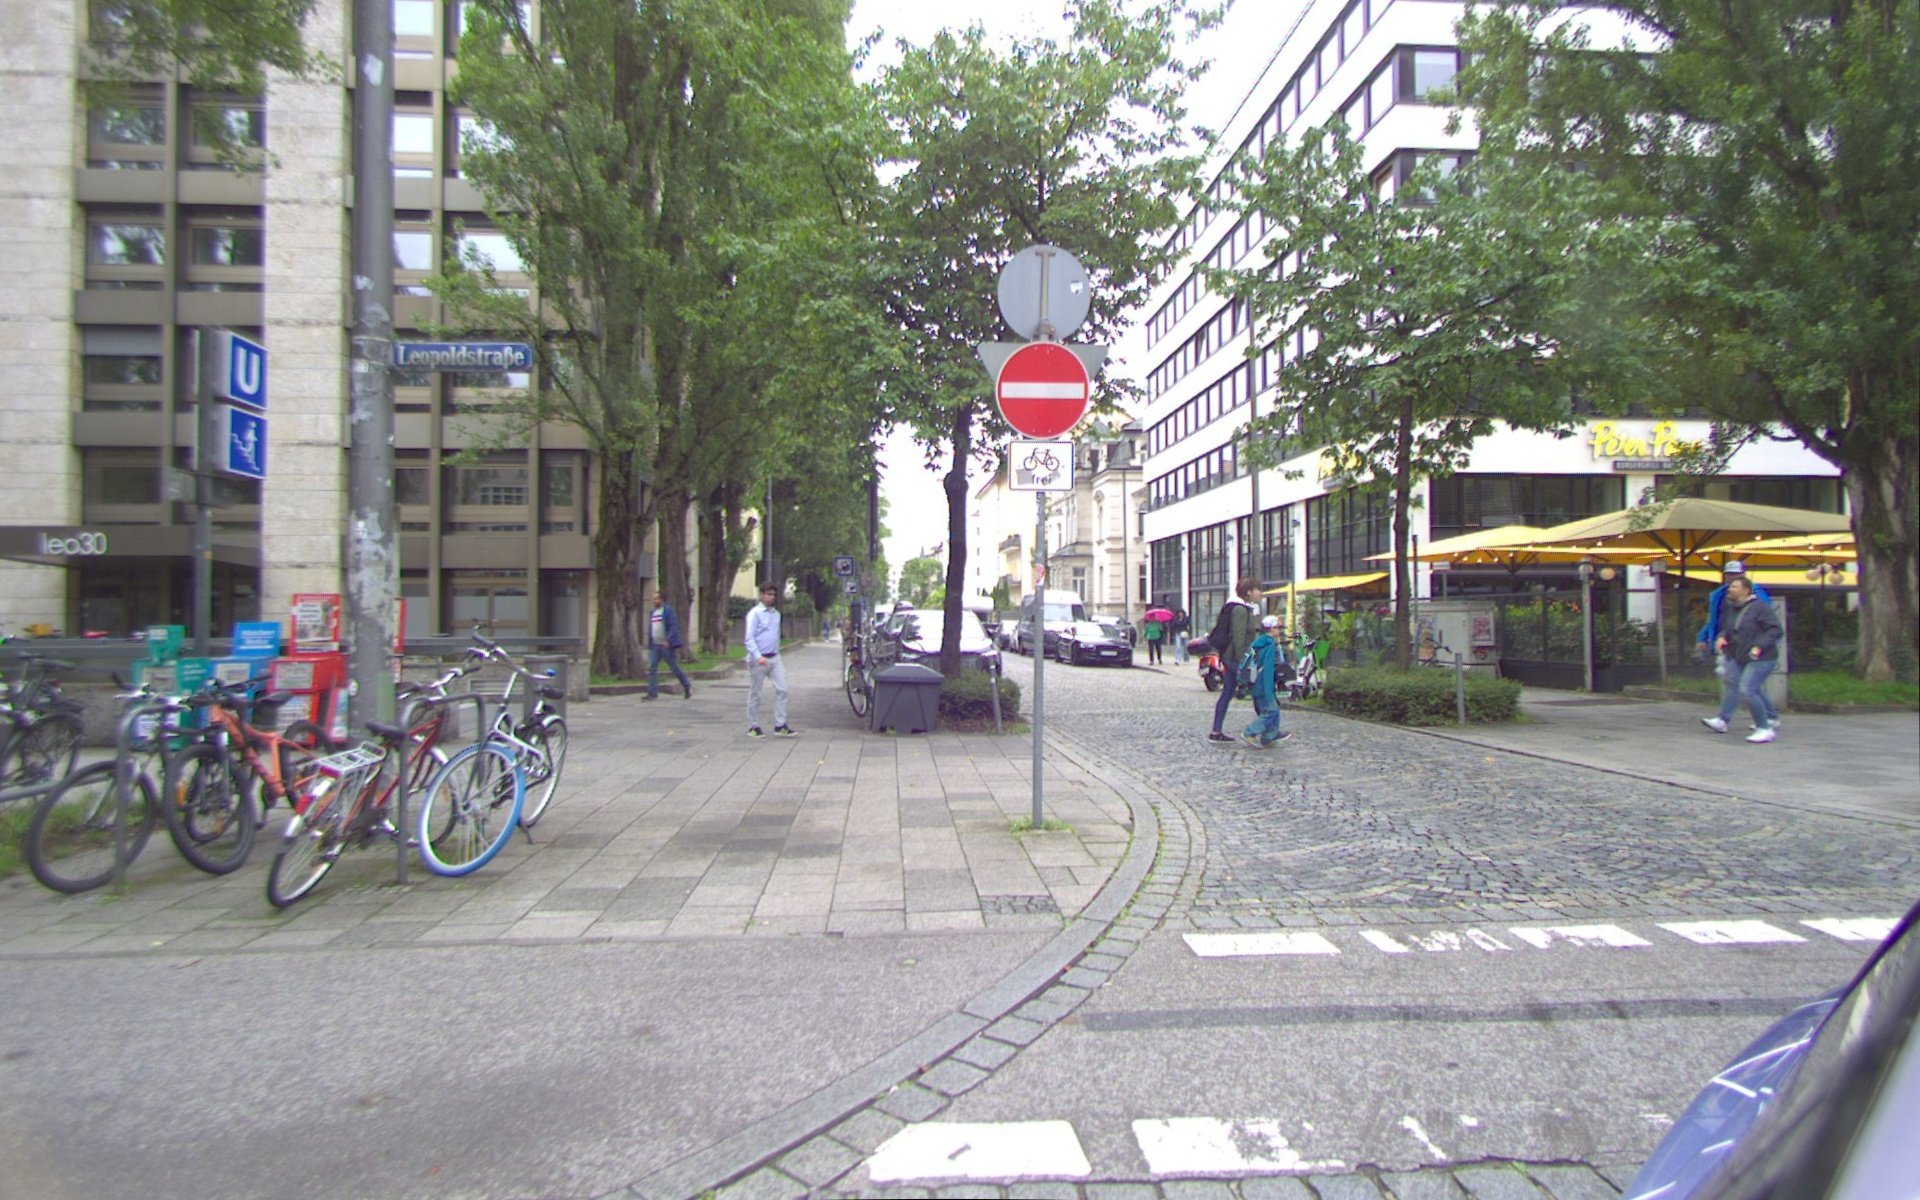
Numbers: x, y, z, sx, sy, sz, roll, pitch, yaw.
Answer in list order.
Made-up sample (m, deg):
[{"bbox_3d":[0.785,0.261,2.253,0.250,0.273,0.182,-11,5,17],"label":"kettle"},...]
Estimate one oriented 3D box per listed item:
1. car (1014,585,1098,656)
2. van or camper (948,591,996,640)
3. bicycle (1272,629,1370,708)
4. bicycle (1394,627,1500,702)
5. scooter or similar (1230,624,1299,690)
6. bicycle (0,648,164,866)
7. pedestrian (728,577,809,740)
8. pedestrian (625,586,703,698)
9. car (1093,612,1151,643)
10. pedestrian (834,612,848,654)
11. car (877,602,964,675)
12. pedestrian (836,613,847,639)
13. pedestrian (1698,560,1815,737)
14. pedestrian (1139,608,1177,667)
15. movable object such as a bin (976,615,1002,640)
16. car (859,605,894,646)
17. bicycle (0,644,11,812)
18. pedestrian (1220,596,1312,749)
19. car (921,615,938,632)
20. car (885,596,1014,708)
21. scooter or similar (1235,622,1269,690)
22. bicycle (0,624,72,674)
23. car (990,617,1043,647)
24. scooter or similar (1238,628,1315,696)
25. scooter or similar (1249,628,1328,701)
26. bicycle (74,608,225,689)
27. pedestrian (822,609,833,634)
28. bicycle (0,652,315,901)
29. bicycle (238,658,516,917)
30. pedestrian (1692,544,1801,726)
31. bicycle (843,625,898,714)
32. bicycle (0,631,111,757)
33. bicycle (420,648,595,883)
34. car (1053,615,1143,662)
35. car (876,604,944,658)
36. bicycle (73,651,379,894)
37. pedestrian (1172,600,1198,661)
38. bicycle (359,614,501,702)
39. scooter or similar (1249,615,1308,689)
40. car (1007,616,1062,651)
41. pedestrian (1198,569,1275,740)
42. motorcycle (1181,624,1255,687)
[{"bbox_3d":[3.591,0.785,39.005,2.024,2.523,5.855,0,-1,-6],"label":"car"},{"bbox_3d":[0.730,1.065,68.850,2.416,3.087,7.324,-1,-1,-6],"label":"van or camper"},{"bbox_3d":[5.759,1.059,16.115,1.729,1.158,0.554,0,-2,-35],"label":"bicycle"},{"bbox_3d":[7.259,0.932,15.173,0.543,1.035,1.764,-1,-1,-6],"label":"bicycle"},{"bbox_3d":[5.808,1.073,19.338,0.383,1.195,1.250,0,-2,-36],"label":"scooter or similar"},{"bbox_3d":[-5.435,0.873,5.707,0.503,1.119,1.932,-1,0,-4],"label":"bicycle"},{"bbox_3d":[-2.149,0.630,11.303,0.698,1.746,0.670,0,-2,-29],"label":"pedestrian"},{"bbox_3d":[-4.739,0.668,16.248,0.856,1.736,0.907,-1,-1,15],"label":"pedestrian"},{"bbox_3d":[8.325,1.410,52.427,1.875,1.552,4.173,-1,-1,-7],"label":"car"},{"bbox_3d":[-4.694,1.304,39.882,0.480,1.649,0.568,-1,-1,-1],"label":"pedestrian"},{"bbox_3d":[-1.155,0.993,27.213,1.979,1.722,4.677,-2,-1,-6],"label":"car"},{"bbox_3d":[-7.110,1.545,60.889,0.633,1.557,0.710,-1,-1,-8],"label":"pedestrian"},{"bbox_3d":[8.209,0.481,10.444,0.632,1.750,0.704,0,-2,-28],"label":"pedestrian"},{"bbox_3d":[5.974,1.126,30.571,0.911,1.728,0.800,-1,-1,-2],"label":"pedestrian"},{"bbox_3d":[1.565,1.509,55.229,1.229,1.315,1.176,0,-1,-9],"label":"movable object such as a bin"},{"bbox_3d":[-5.549,1.645,66.649,2.047,2.464,5.616,-2,-1,-7],"label":"car"},{"bbox_3d":[-6.306,0.810,5.537,0.504,1.051,1.833,-1,0,1],"label":"bicycle"},{"bbox_3d":[3.003,0.689,10.004,0.758,1.438,0.815,-1,-1,11],"label":"pedestrian"},{"bbox_3d":[-4.634,3.523,154.107,2.047,2.464,5.616,-1,-1,-7],"label":"car"},{"bbox_3d":[-0.323,0.868,18.295,1.888,1.722,4.205,-2,-1,-6],"label":"car"},{"bbox_3d":[5.683,1.070,19.693,0.324,1.289,1.343,-2,-3,29],"label":"scooter or similar"},{"bbox_3d":[-23.304,1.203,25.143,0.635,1.170,2.247,-1,-1,-4],"label":"bicycle"},{"bbox_3d":[2.729,1.540,49.763,1.960,1.406,4.003,0,-1,-5],"label":"car"},{"bbox_3d":[5.579,1.090,17.859,1.226,1.159,0.328,-1,-2,-3],"label":"scooter or similar"},{"bbox_3d":[5.529,1.063,17.037,1.401,1.159,0.370,0,-2,-28],"label":"scooter or similar"},{"bbox_3d":[-12.466,0.736,15.595,1.833,1.175,0.588,-1,-1,-3],"label":"bicycle"},{"bbox_3d":[-8.388,1.357,64.111,0.534,1.550,0.531,0,-2,-28],"label":"pedestrian"},{"bbox_3d":[-4.440,0.882,5.718,0.466,1.064,1.877,-1,0,-3],"label":"bicycle"},{"bbox_3d":[-2.963,0.871,5.371,0.466,1.064,1.877,-1,-2,-3],"label":"bicycle"},{"bbox_3d":[8.701,0.375,11.214,0.632,1.932,0.704,0,-2,-28],"label":"pedestrian"},{"bbox_3d":[-1.228,0.937,14.202,0.467,1.151,1.874,-1,-1,4],"label":"bicycle"},{"bbox_3d":[-9.400,0.909,9.922,1.838,1.175,0.586,-1,-1,8],"label":"bicycle"},{"bbox_3d":[-2.558,0.852,5.908,0.466,1.064,1.879,-1,-1,-9],"label":"bicycle"},{"bbox_3d":[4.268,1.181,31.971,1.960,1.347,4.119,-1,-1,-5],"label":"car"},{"bbox_3d":[-1.729,0.995,33.455,1.960,1.603,4.346,-1,-1,-6],"label":"car"},{"bbox_3d":[-4.085,0.879,5.828,0.466,1.064,1.877,-1,0,-3],"label":"bicycle"},{"bbox_3d":[6.619,0.879,29.783,0.564,1.770,0.651,0,-1,-6],"label":"pedestrian"},{"bbox_3d":[-8.235,0.887,15.784,1.833,1.293,0.722,-1,-1,-3],"label":"bicycle"},{"bbox_3d":[5.892,0.943,18.698,1.227,1.289,0.327,-1,-2,-35],"label":"scooter or similar"},{"bbox_3d":[3.239,1.459,44.959,1.961,1.449,4.001,-1,-1,-3],"label":"car"},{"bbox_3d":[2.865,0.556,10.545,0.680,1.722,0.661,-1,-2,12],"label":"pedestrian"},{"bbox_3d":[5.232,1.095,20.435,0.767,1.211,1.964,-1,-2,37],"label":"motorcycle"}]
